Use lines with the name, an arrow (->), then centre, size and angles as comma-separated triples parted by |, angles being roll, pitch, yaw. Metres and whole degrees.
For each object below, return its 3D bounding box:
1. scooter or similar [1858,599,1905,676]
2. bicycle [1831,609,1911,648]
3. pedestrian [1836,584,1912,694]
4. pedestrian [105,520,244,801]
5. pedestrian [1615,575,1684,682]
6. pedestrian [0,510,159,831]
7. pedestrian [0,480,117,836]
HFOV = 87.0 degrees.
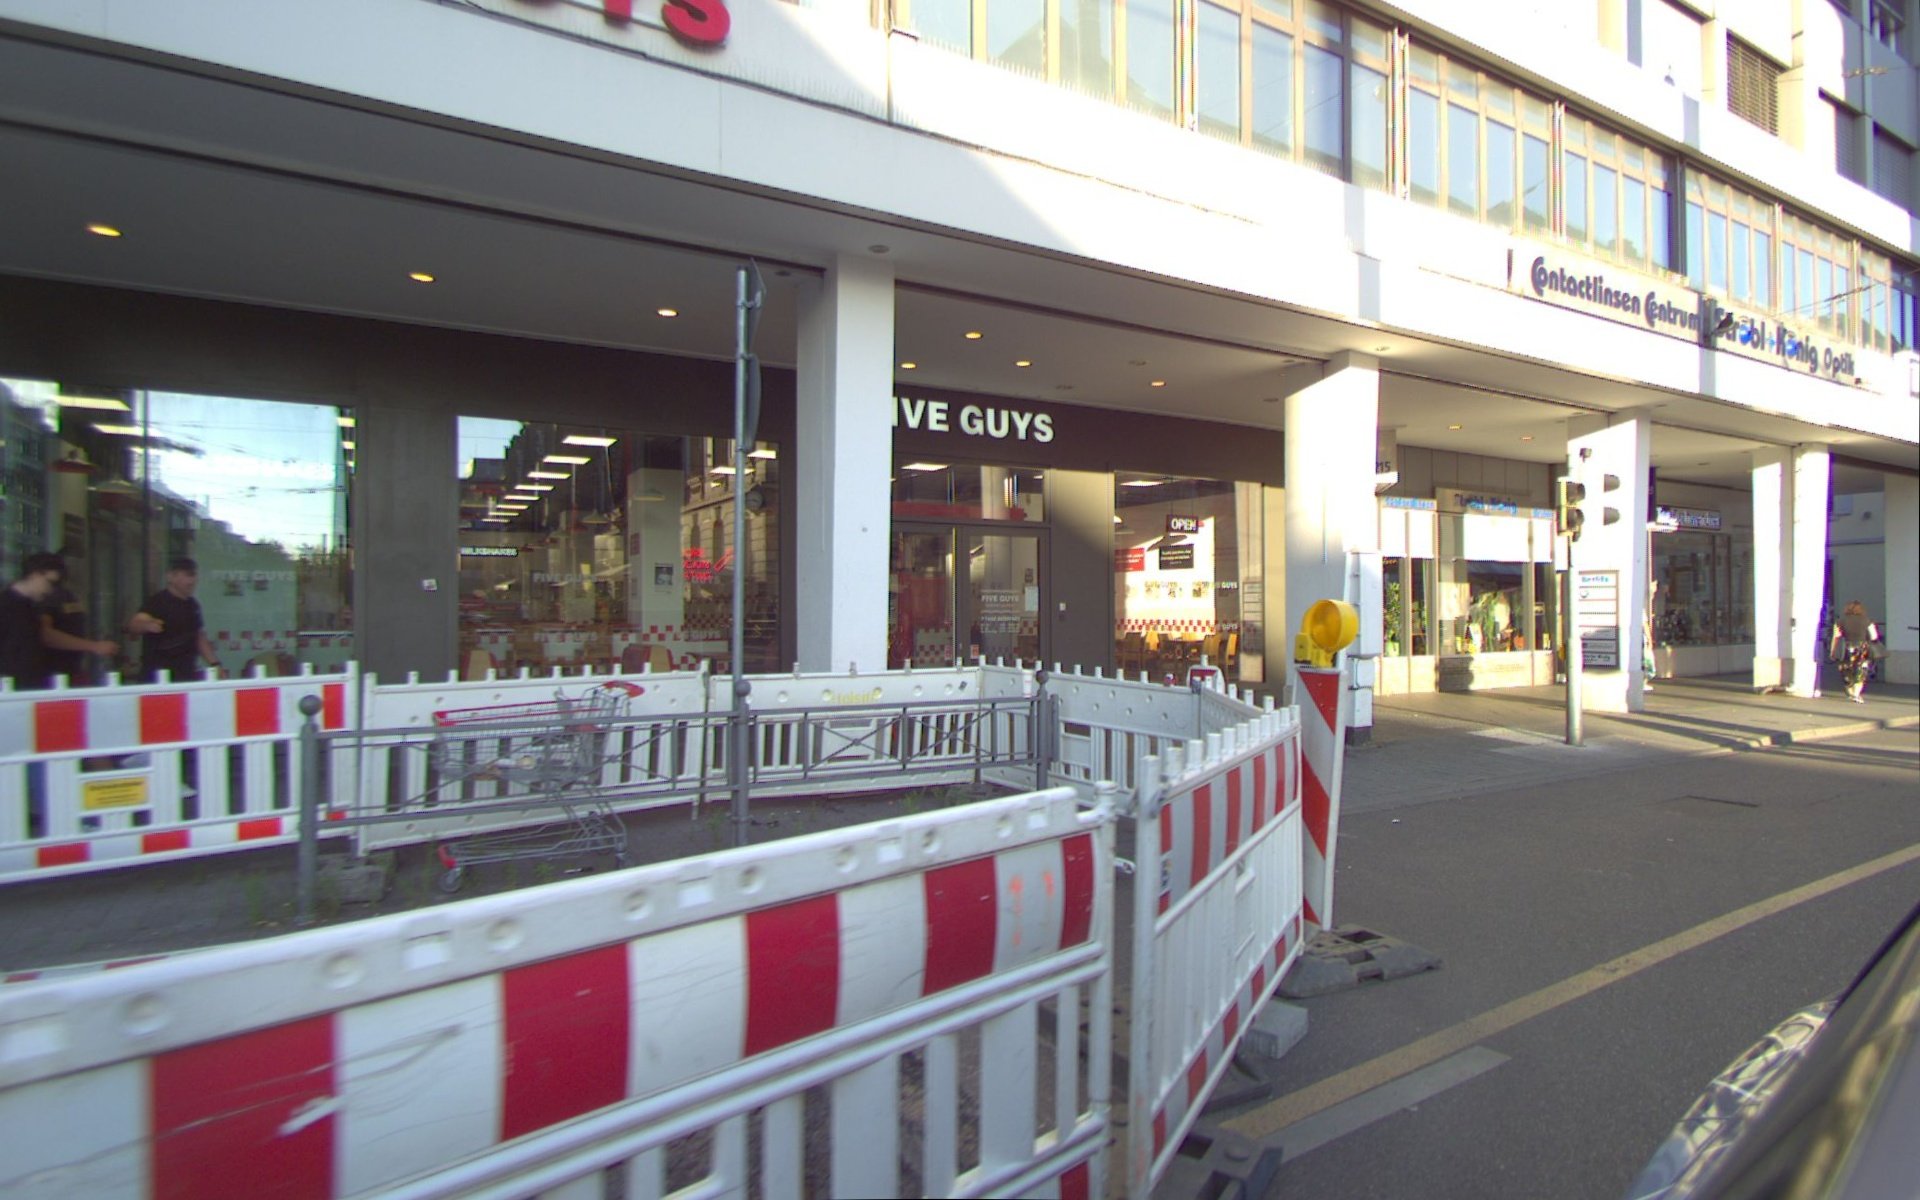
scooter or similar -> 18.646, 0.745, 20.468 | 1.289, 1.507, 0.315 | 0, -1, -30
bicycle -> 29.331, 0.919, 32.607 | 1.812, 1.197, 0.771 | -1, -2, 1
pedestrian -> 14.627, 0.623, 16.213 | 0.693, 1.715, 0.537 | -2, -2, 21
pedestrian -> -5.999, 0.448, 7.757 | 0.464, 2.040, 0.705 | -1, -2, 11
pedestrian -> 12.065, 0.494, 17.724 | 0.617, 1.839, 0.703 | 0, -2, -17
pedestrian -> -6.024, 0.455, 6.861 | 0.509, 2.040, 0.778 | -1, -2, 11
pedestrian -> -5.657, 0.338, 6.151 | 0.462, 2.040, 0.707 | -1, -2, 0
